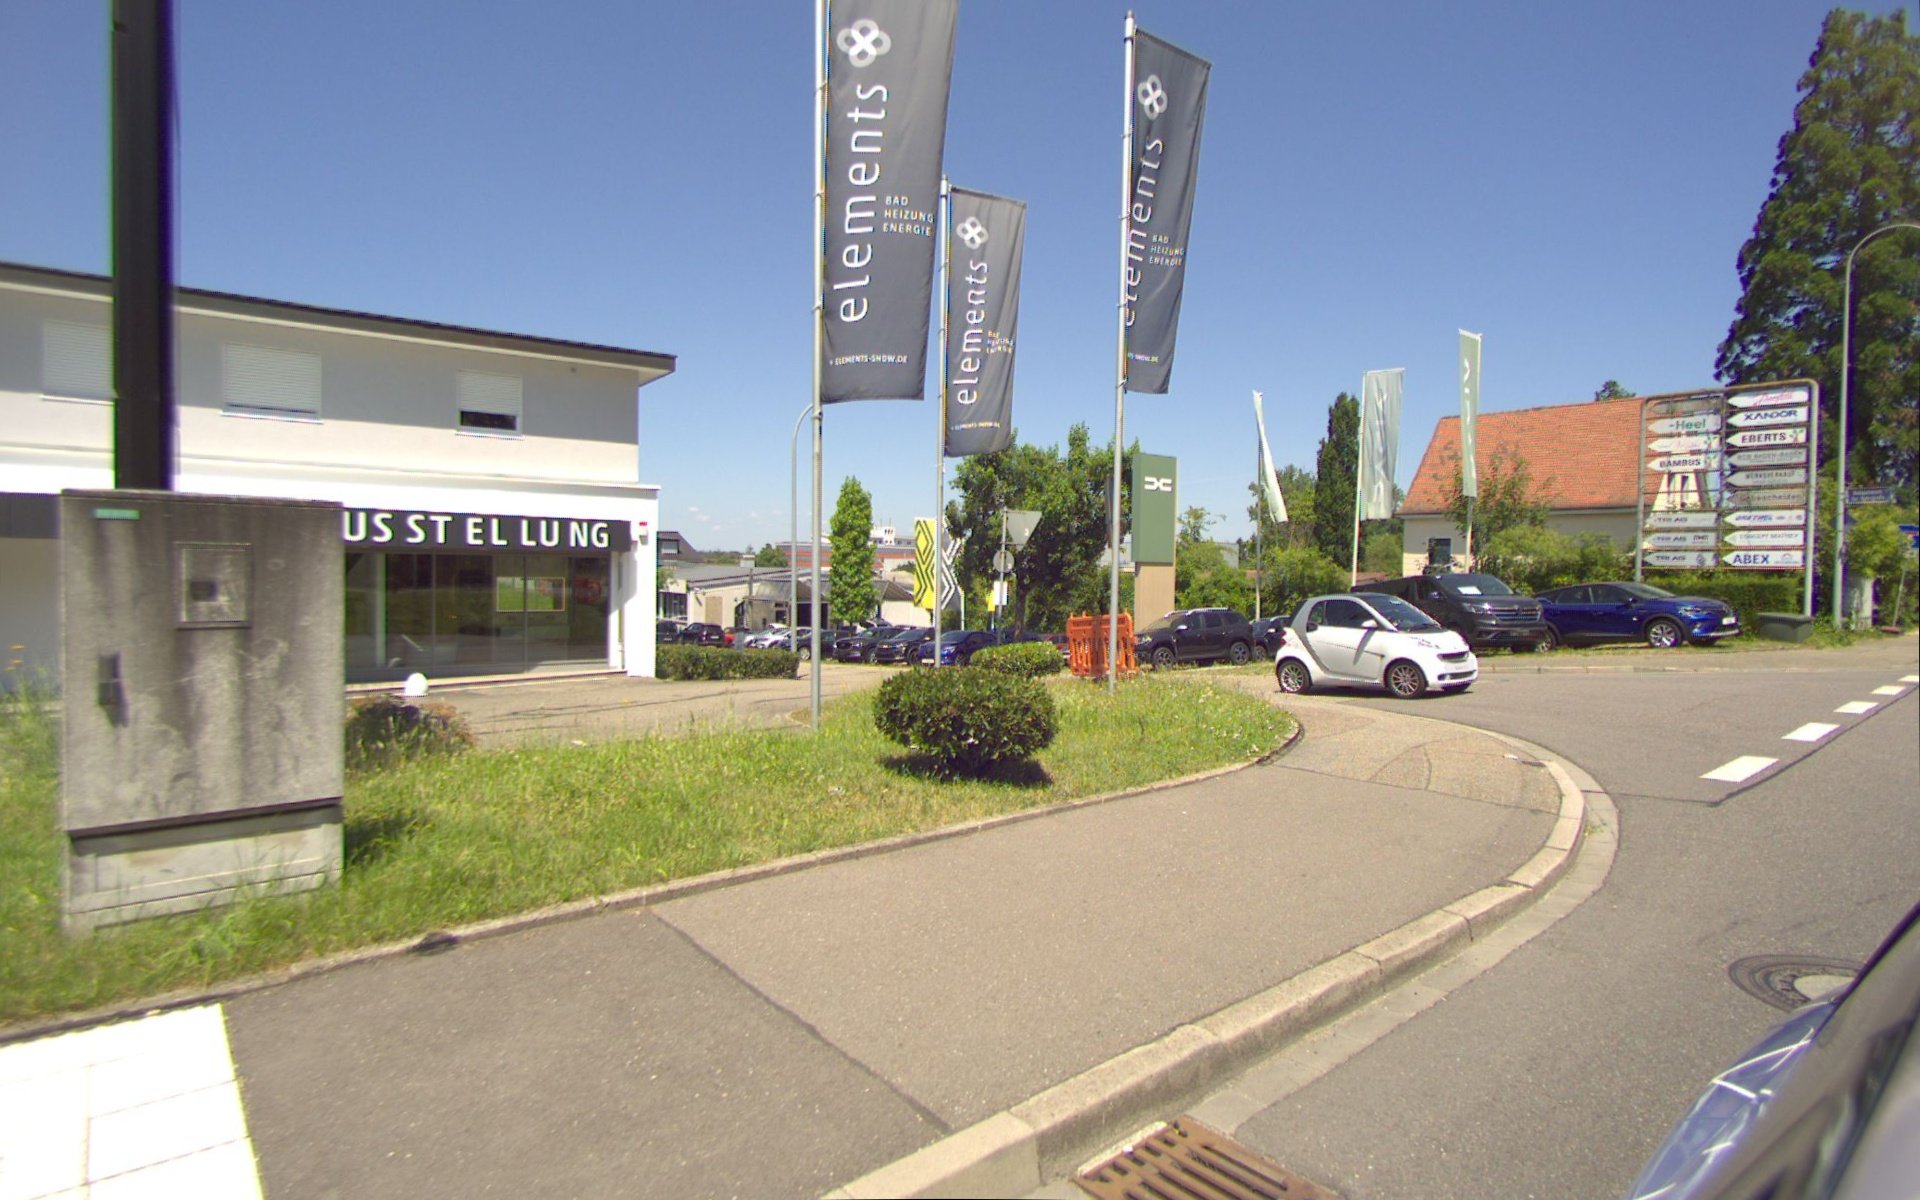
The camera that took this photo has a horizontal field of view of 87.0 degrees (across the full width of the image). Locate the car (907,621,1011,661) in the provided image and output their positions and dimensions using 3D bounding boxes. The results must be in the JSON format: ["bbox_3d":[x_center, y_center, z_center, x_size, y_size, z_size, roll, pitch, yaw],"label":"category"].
[{"bbox_3d":[0.028,1.504,36.899,1.707,1.391,3.942,-2,-4,39],"label":"car"}]

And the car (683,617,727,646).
[{"bbox_3d":[-16.437,1.991,65.054,1.744,1.654,3.871,0,1,-31],"label":"car"}]

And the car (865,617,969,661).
[{"bbox_3d":[-1.596,1.533,38.931,1.743,1.555,4.029,-2,-5,39],"label":"car"}]

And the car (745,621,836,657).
[{"bbox_3d":[-8.078,1.835,48.340,3.922,1.543,1.780,0,0,-33],"label":"car"}]

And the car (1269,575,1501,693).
[{"bbox_3d":[6.383,0.495,15.397,1.567,1.538,2.775,-4,0,-35],"label":"car"}]

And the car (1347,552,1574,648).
[{"bbox_3d":[11.508,0.109,23.830,1.957,1.924,5.282,-2,-3,-9],"label":"car"}]

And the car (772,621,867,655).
[{"bbox_3d":[-6.402,1.706,46.124,3.922,1.405,1.780,0,1,-33],"label":"car"}]

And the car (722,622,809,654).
[{"bbox_3d":[-9.733,1.861,50.652,3.922,1.405,1.780,0,1,-33],"label":"car"}]

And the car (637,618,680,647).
[{"bbox_3d":[-19.043,2.017,63.807,1.744,1.654,3.871,0,1,-31],"label":"car"}]

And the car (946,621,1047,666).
[{"bbox_3d":[1.462,1.730,41.646,1.863,1.638,3.990,0,1,-43],"label":"car"}]

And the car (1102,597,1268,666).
[{"bbox_3d":[6.345,0.849,28.539,4.278,1.678,1.832,-2,0,-24],"label":"car"}]

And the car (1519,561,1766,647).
[{"bbox_3d":[15.117,0.145,22.668,1.819,1.533,4.083,-3,-3,-29],"label":"car"}]

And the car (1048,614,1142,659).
[{"bbox_3d":[5.798,1.513,43.252,3.931,1.725,1.872,0,1,-41],"label":"car"}]

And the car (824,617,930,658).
[{"bbox_3d":[-3.423,1.602,42.454,1.865,1.555,4.341,-2,-5,42],"label":"car"}]

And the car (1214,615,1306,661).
[{"bbox_3d":[10.873,1.411,36.609,3.372,1.528,1.737,5,-6,-42],"label":"car"}]
